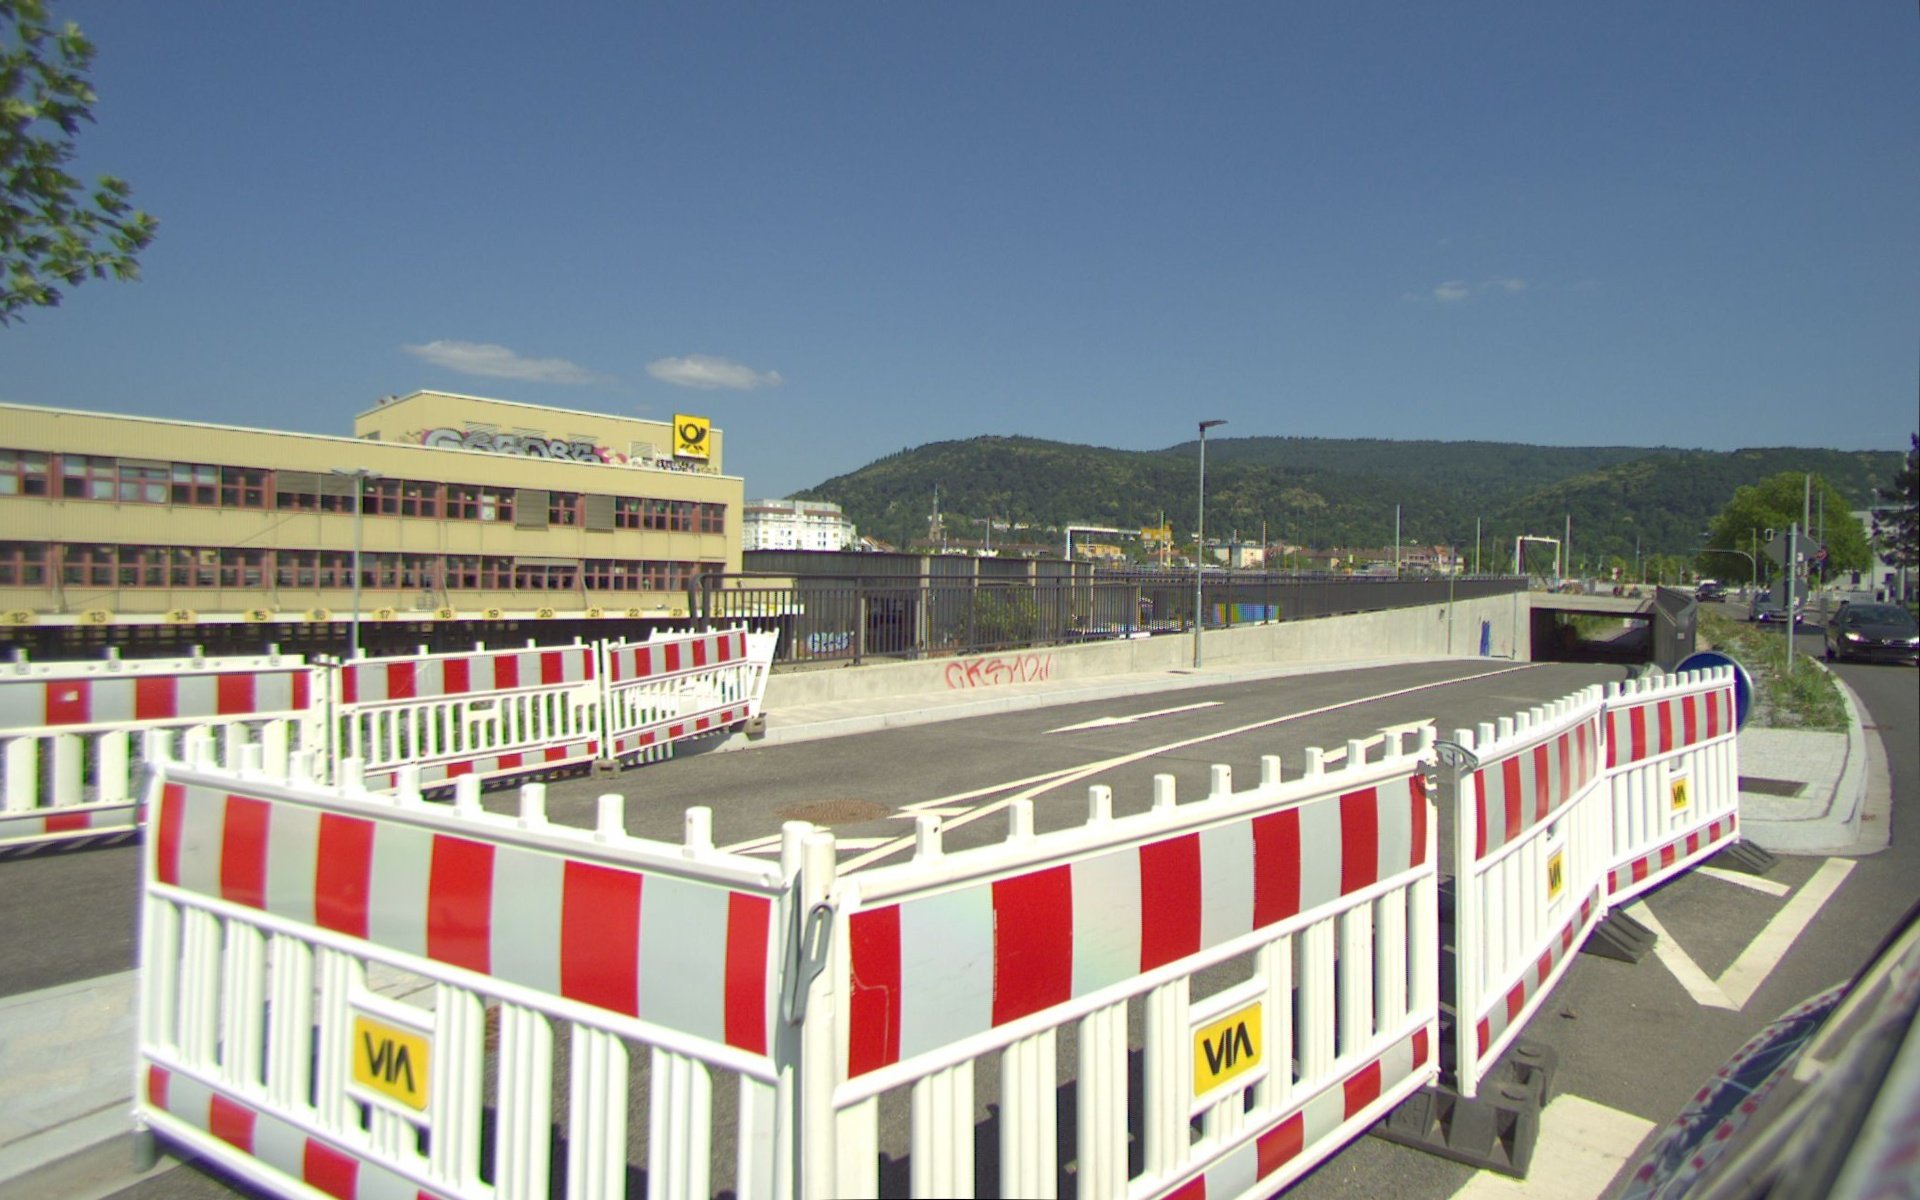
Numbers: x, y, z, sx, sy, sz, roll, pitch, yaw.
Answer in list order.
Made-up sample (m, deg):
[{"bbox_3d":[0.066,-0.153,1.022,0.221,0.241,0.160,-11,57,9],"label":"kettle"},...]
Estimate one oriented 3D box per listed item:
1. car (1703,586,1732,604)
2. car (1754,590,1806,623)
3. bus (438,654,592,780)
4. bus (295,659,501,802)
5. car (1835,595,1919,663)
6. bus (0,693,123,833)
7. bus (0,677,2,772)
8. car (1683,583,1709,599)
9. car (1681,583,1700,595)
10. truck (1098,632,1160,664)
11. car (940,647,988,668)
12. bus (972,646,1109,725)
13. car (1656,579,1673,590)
[{"bbox_3d":[63.209,-0.417,84.533,1.607,1.459,3.725,1,2,32],"label":"car"},{"bbox_3d":[39.061,0.262,48.268,1.609,1.459,3.721,1,2,35],"label":"car"},{"bbox_3d":[-21.287,5.225,49.944,2.610,3.811,17.507,0,1,-9],"label":"bus"},{"bbox_3d":[-24.134,5.182,45.057,2.610,3.811,17.159,0,1,-10],"label":"bus"},{"bbox_3d":[22.506,0.651,24.639,1.611,1.459,3.656,1,2,38],"label":"car"},{"bbox_3d":[-31.110,5.234,28.227,2.625,3.811,13.093,0,1,13],"label":"bus"},{"bbox_3d":[-41.042,5.153,34.658,2.621,3.811,13.111,0,1,9],"label":"bus"},{"bbox_3d":[70.421,-0.891,96.847,1.607,1.459,3.727,1,2,31],"label":"car"},{"bbox_3d":[90.327,-1.381,125.142,1.607,1.459,3.727,1,2,31],"label":"car"},{"bbox_3d":[17.615,4.902,104.924,1.994,2.792,8.259,0,1,45],"label":"truck"},{"bbox_3d":[0.333,5.145,91.224,4.356,1.605,1.718,1,1,45],"label":"car"},{"bbox_3d":[5.222,5.004,61.974,2.534,3.575,12.386,0,1,35],"label":"bus"},{"bbox_3d":[95.754,-2.118,137.598,1.607,1.459,3.727,1,2,31],"label":"car"}]
